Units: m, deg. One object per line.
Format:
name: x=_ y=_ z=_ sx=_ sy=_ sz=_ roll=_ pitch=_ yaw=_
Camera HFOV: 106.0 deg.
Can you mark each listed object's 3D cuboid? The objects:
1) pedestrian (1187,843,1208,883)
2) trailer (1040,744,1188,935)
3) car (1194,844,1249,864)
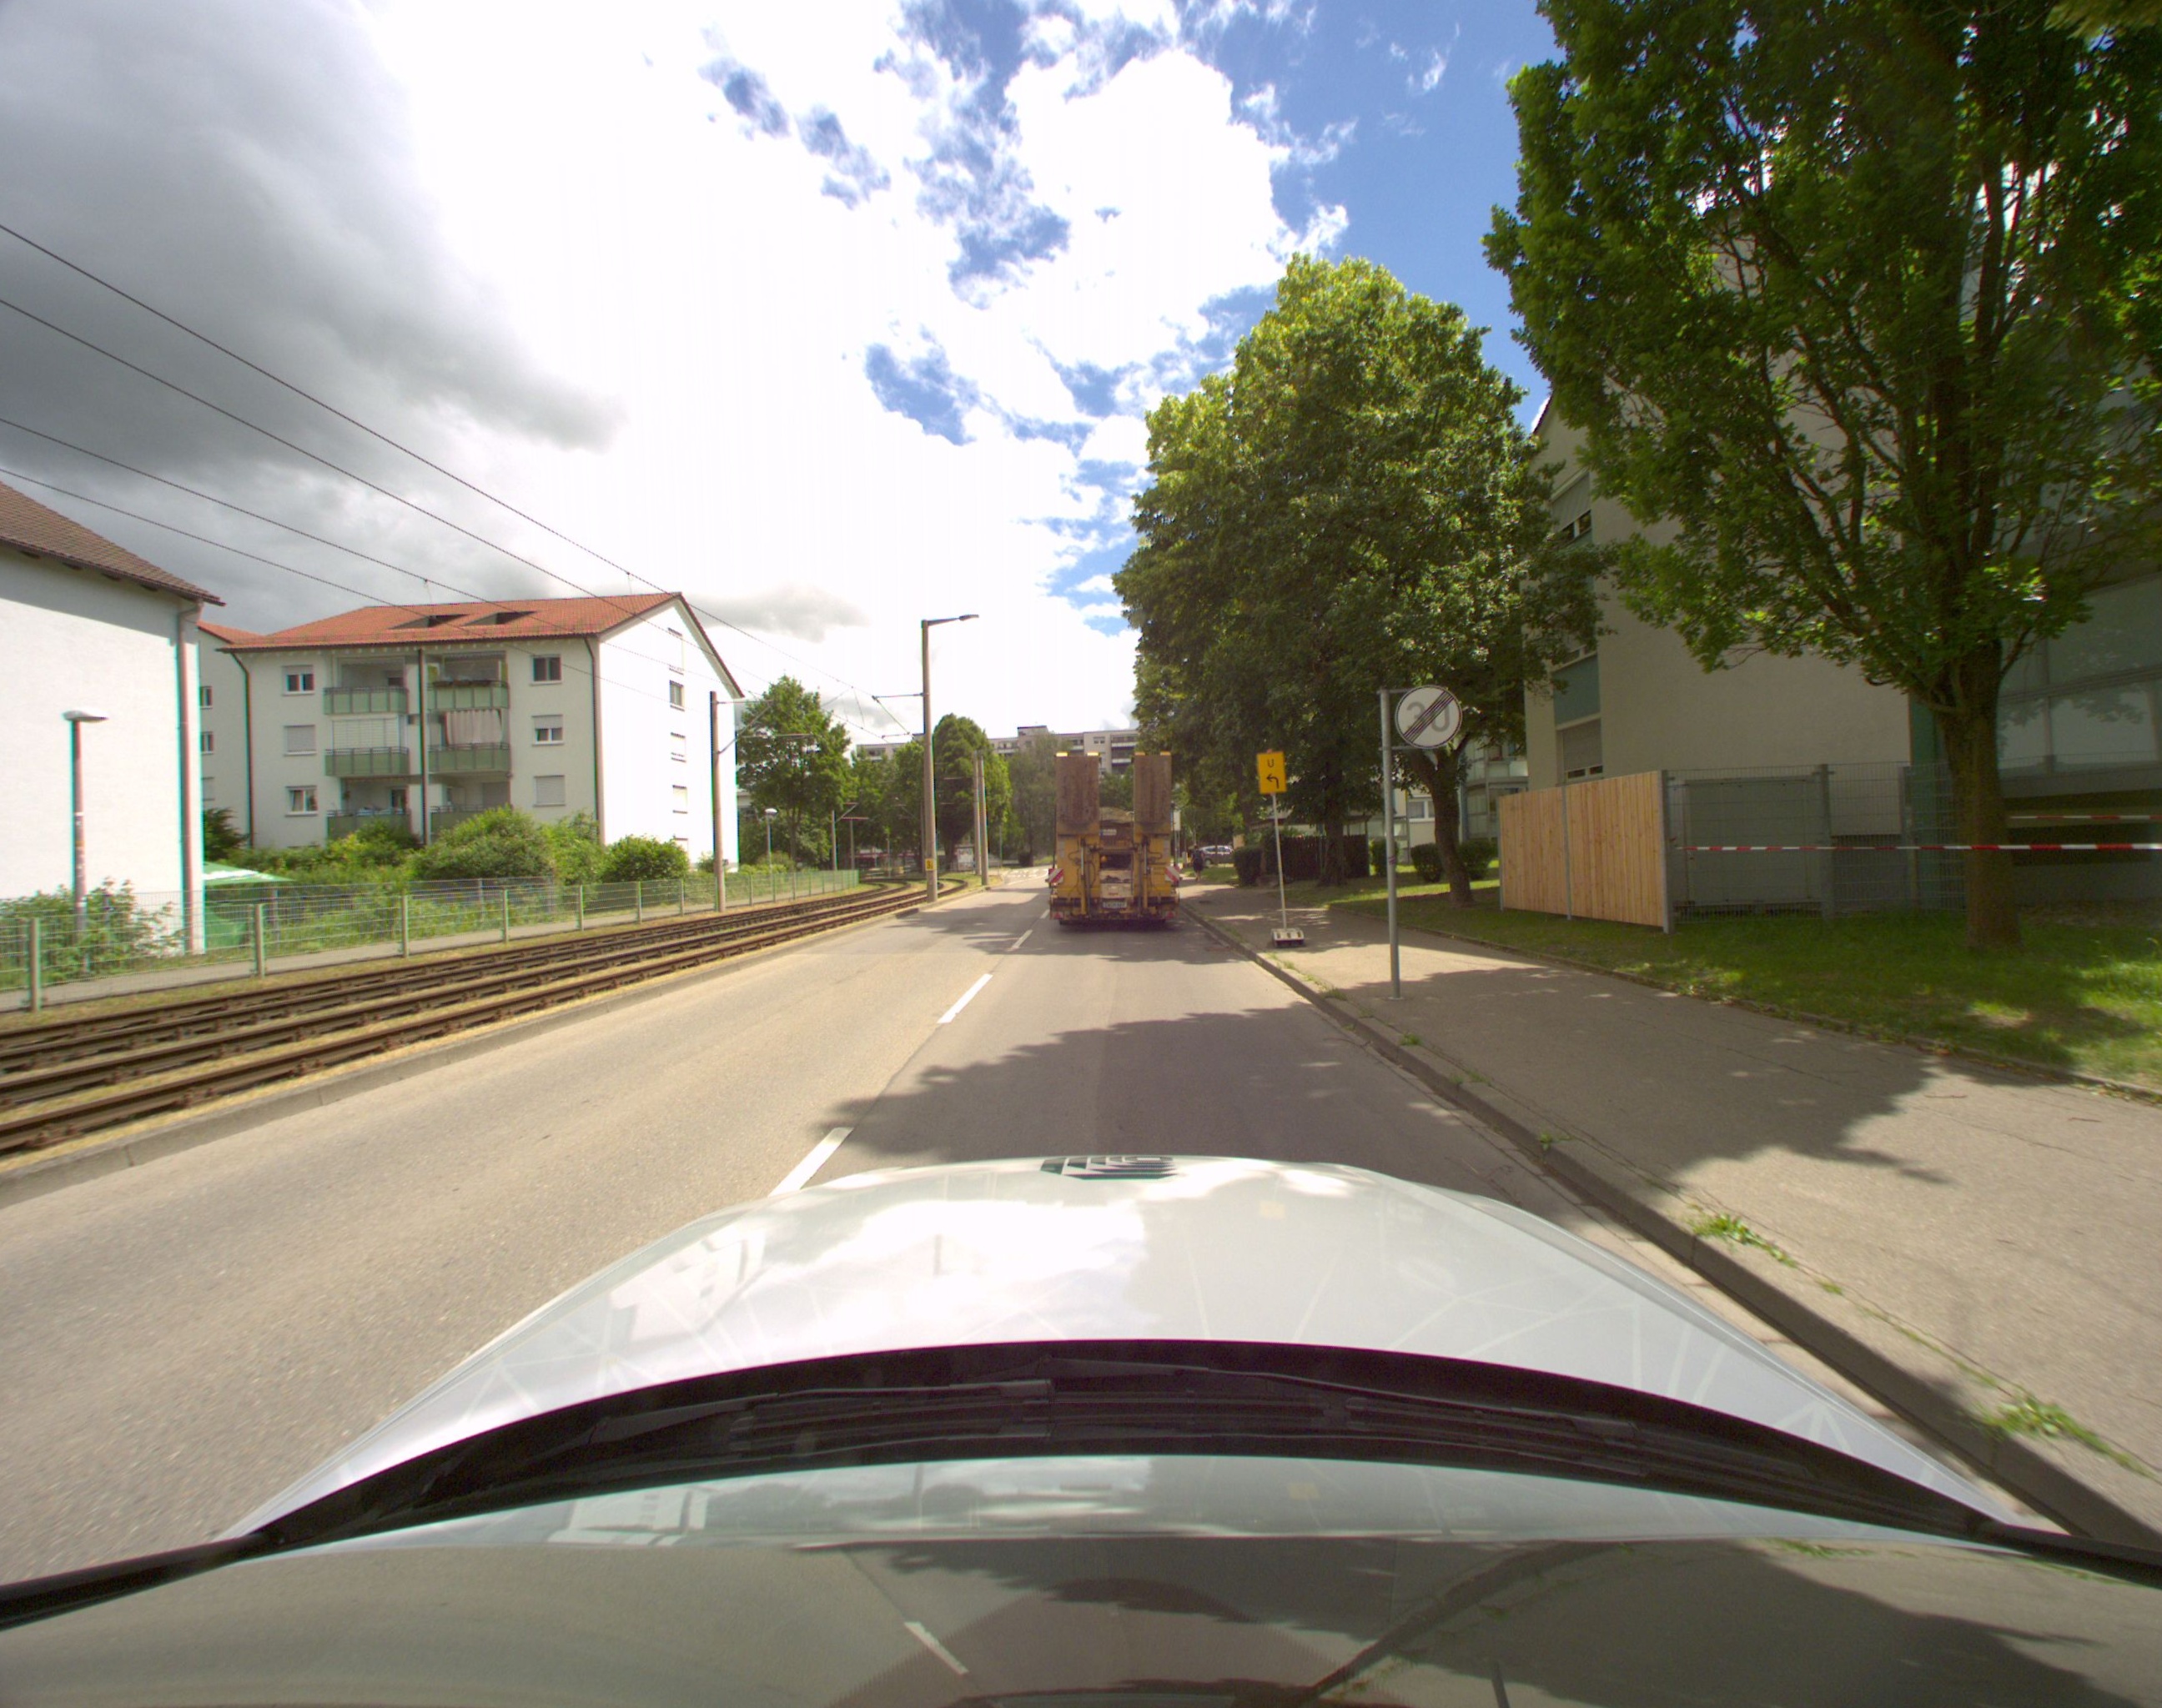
pedestrian: x=5.243 y=0.397 z=36.688 sx=0.715 sy=1.706 sz=0.766 roll=-3 pitch=0 yaw=1
trailer: x=0.710 y=-0.291 z=21.876 sx=2.817 sy=3.646 sz=12.354 roll=-1 pitch=0 yaw=1
car: x=11.345 y=0.007 z=65.747 sx=3.988 sy=1.561 sz=1.753 roll=-1 pitch=0 yaw=-11
